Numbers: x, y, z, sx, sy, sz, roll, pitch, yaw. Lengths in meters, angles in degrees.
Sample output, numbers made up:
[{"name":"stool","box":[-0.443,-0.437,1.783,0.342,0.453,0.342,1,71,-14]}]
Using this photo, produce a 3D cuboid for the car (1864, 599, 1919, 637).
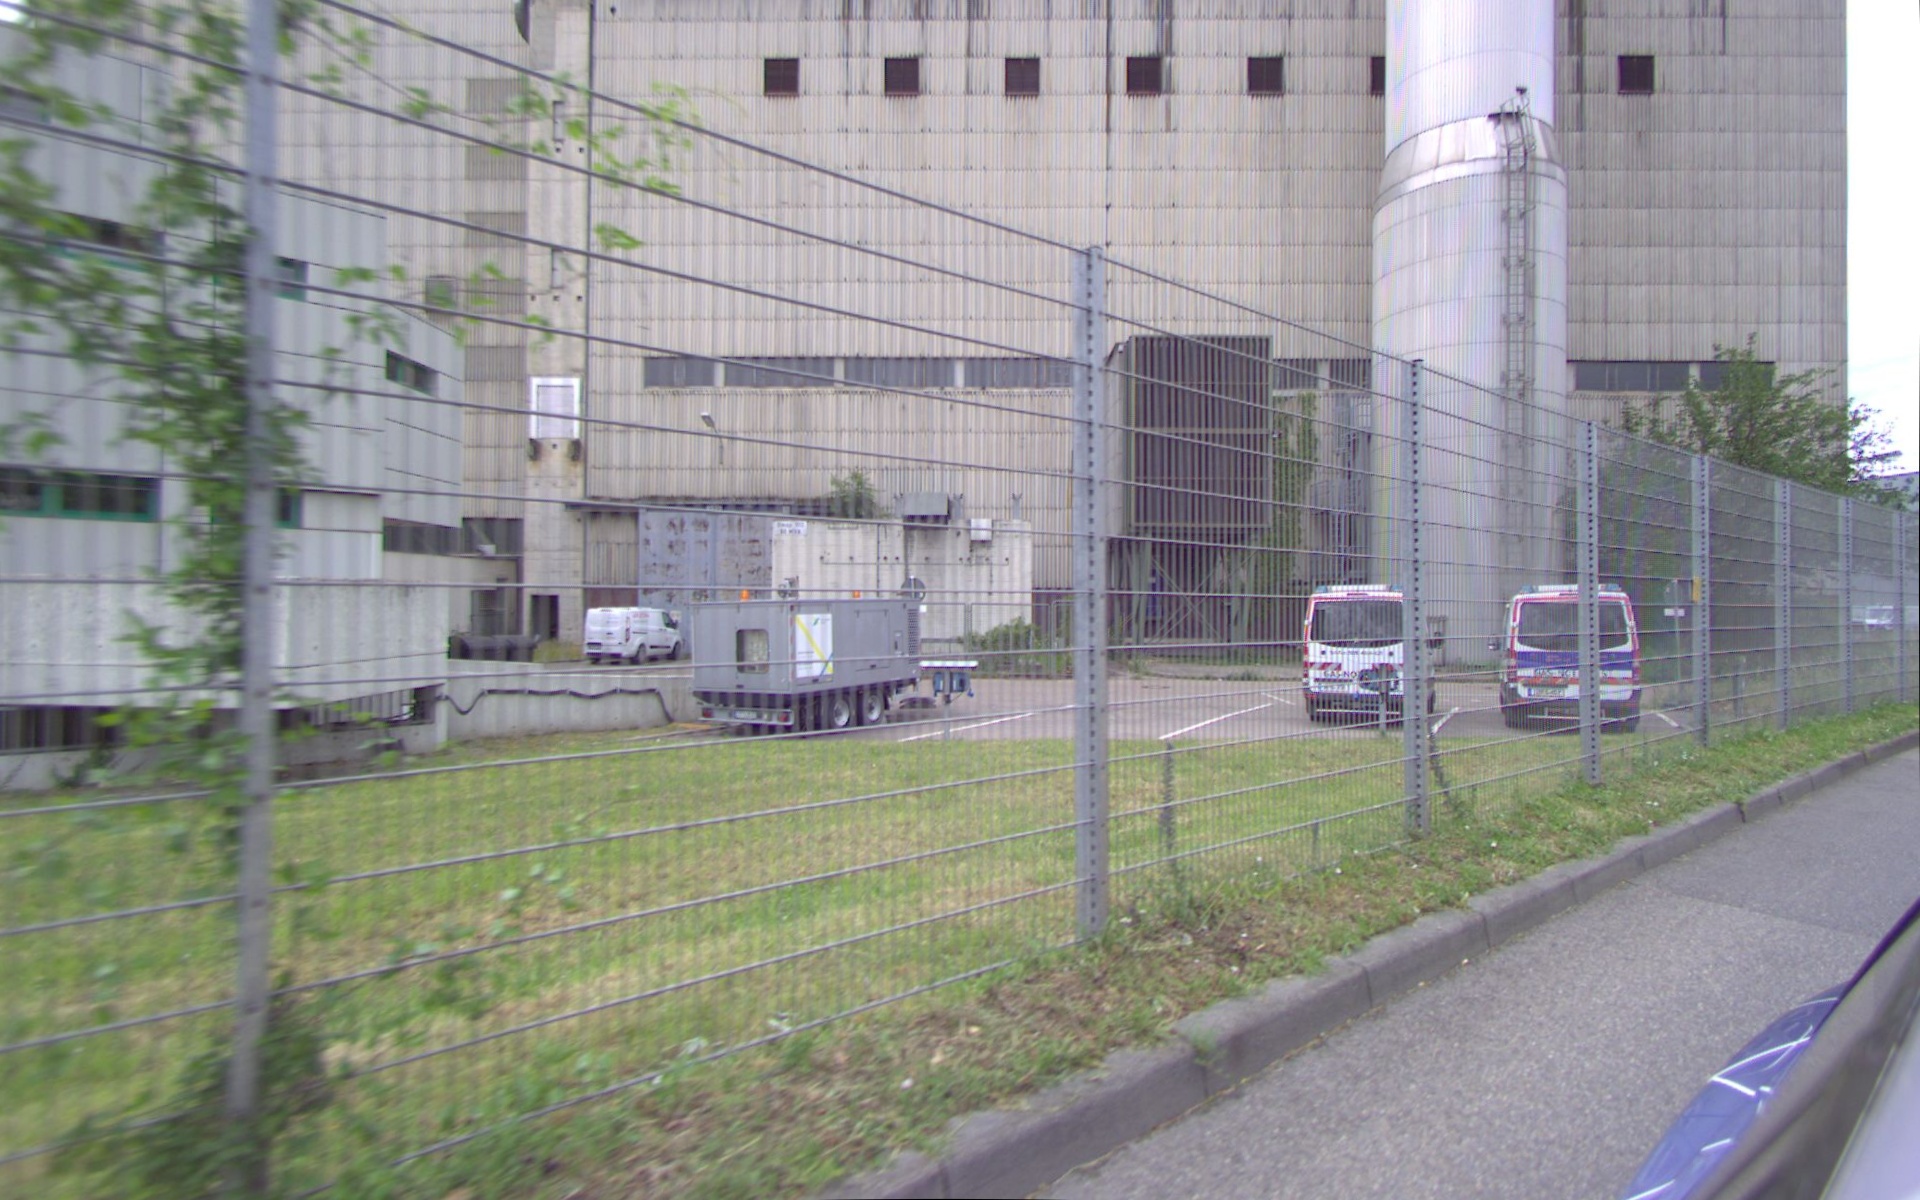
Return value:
[{"name":"car","box":[61.373,1.168,65.092,5.716,2.398,2.004,0,-1,-15]}]

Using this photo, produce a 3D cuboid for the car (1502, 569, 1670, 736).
[{"name":"car","box":[11.191,0.929,18.477,2.218,2.581,5.137,-1,-3,28]}]

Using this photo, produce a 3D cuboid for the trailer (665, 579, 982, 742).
[{"name":"trailer","box":[-2.296,1.011,19.442,2.643,2.576,6.360,-1,-1,32]}]

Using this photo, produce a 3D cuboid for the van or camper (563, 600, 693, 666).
[{"name":"van or camper","box":[-12.110,1.123,37.417,2.320,2.169,5.318,0,0,11]}]

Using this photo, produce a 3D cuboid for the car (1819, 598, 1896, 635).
[{"name":"car","box":[60.842,1.138,68.567,5.720,2.398,2.002,1,-1,-28]}]

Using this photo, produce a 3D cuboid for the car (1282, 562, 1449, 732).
[{"name":"car","box":[7.995,0.905,19.606,2.406,2.799,5.397,-1,-3,28]}]
